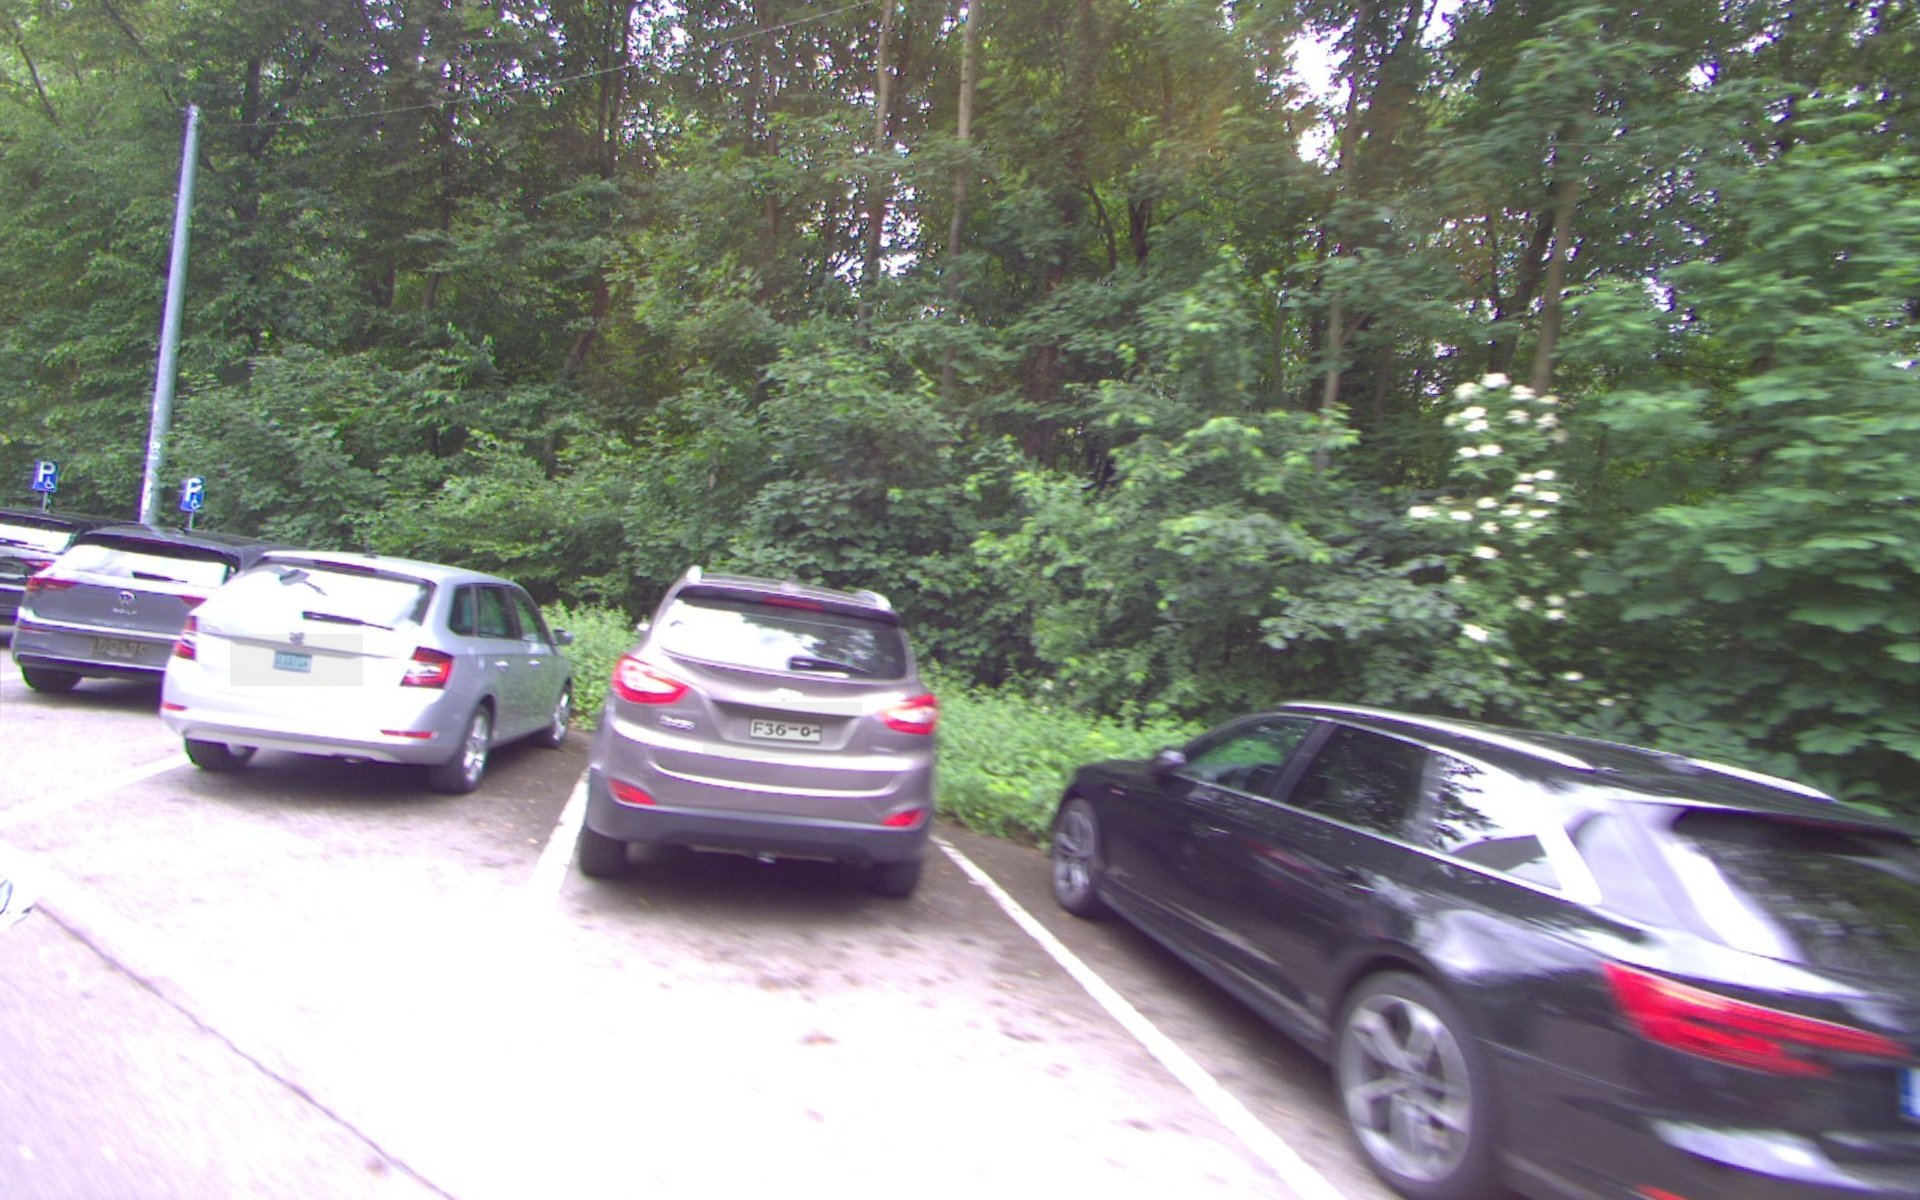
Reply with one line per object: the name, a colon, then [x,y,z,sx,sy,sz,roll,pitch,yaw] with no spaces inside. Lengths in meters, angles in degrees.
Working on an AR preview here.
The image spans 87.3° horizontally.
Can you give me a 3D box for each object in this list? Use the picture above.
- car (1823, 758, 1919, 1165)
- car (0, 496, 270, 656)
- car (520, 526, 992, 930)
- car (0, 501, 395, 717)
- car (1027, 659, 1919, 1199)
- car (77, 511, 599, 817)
car: [4.922,1.486,2.266,1.776,1.474,4.177,8,-2,-13]
car: [-10.128,-0.297,11.736,1.869,1.479,4.196,8,-2,-13]
car: [-1.374,0.638,6.662,1.934,1.655,4.253,8,-2,-14]
car: [-7.088,0.075,9.534,1.880,1.438,3.991,8,-2,-14]
car: [1.986,1.189,4.375,1.936,1.393,4.251,8,-2,-16]
car: [-4.126,0.392,7.565,1.805,1.484,3.995,8,-1,-9]
